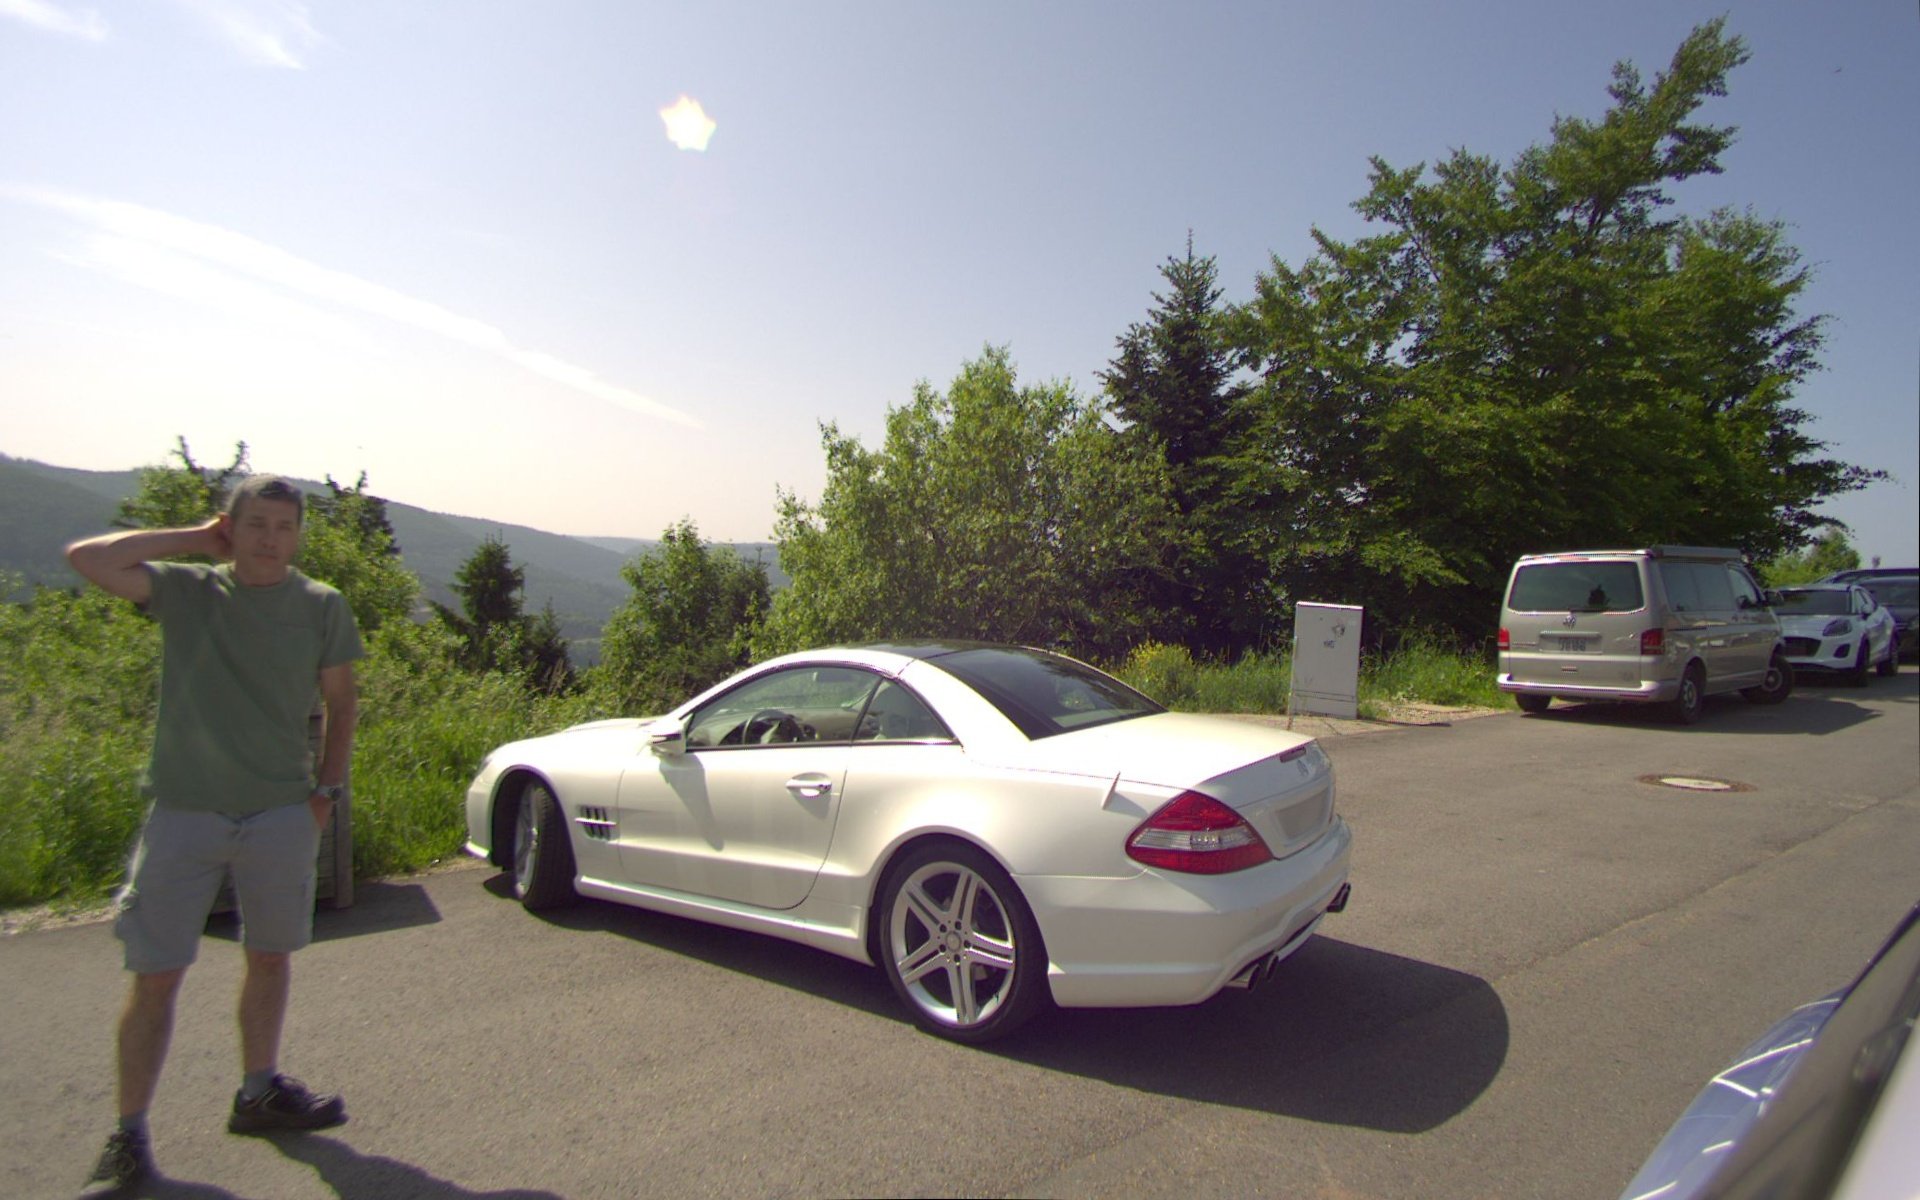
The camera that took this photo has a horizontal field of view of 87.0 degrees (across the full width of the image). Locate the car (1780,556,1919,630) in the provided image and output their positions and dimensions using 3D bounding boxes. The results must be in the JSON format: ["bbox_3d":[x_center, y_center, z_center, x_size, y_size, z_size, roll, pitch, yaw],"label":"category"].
[{"bbox_3d":[25.547,-0.191,27.832,4.427,1.949,1.855,0,0,33],"label":"car"}]

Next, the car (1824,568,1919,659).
[{"bbox_3d":[18.703,0.226,19.940,3.928,1.639,1.874,-1,0,-39],"label":"car"}]

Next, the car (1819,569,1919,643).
[{"bbox_3d":[22.111,0.122,22.773,3.970,1.639,1.855,0,0,33],"label":"car"}]

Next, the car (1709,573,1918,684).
[{"bbox_3d":[13.821,0.381,16.325,3.928,1.567,1.874,-1,0,-39],"label":"car"}]

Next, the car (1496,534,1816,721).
[{"bbox_3d":[8.838,0.279,12.730,4.522,1.960,1.863,0,0,-35],"label":"car"}]

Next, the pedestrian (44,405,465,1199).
[{"bbox_3d":[-1.818,0.500,2.616,0.733,1.822,0.737,0,1,43],"label":"pedestrian"}]

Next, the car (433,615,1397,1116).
[{"bbox_3d":[-0.498,0.730,4.702,4.385,1.312,1.733,-1,-1,37],"label":"car"}]
